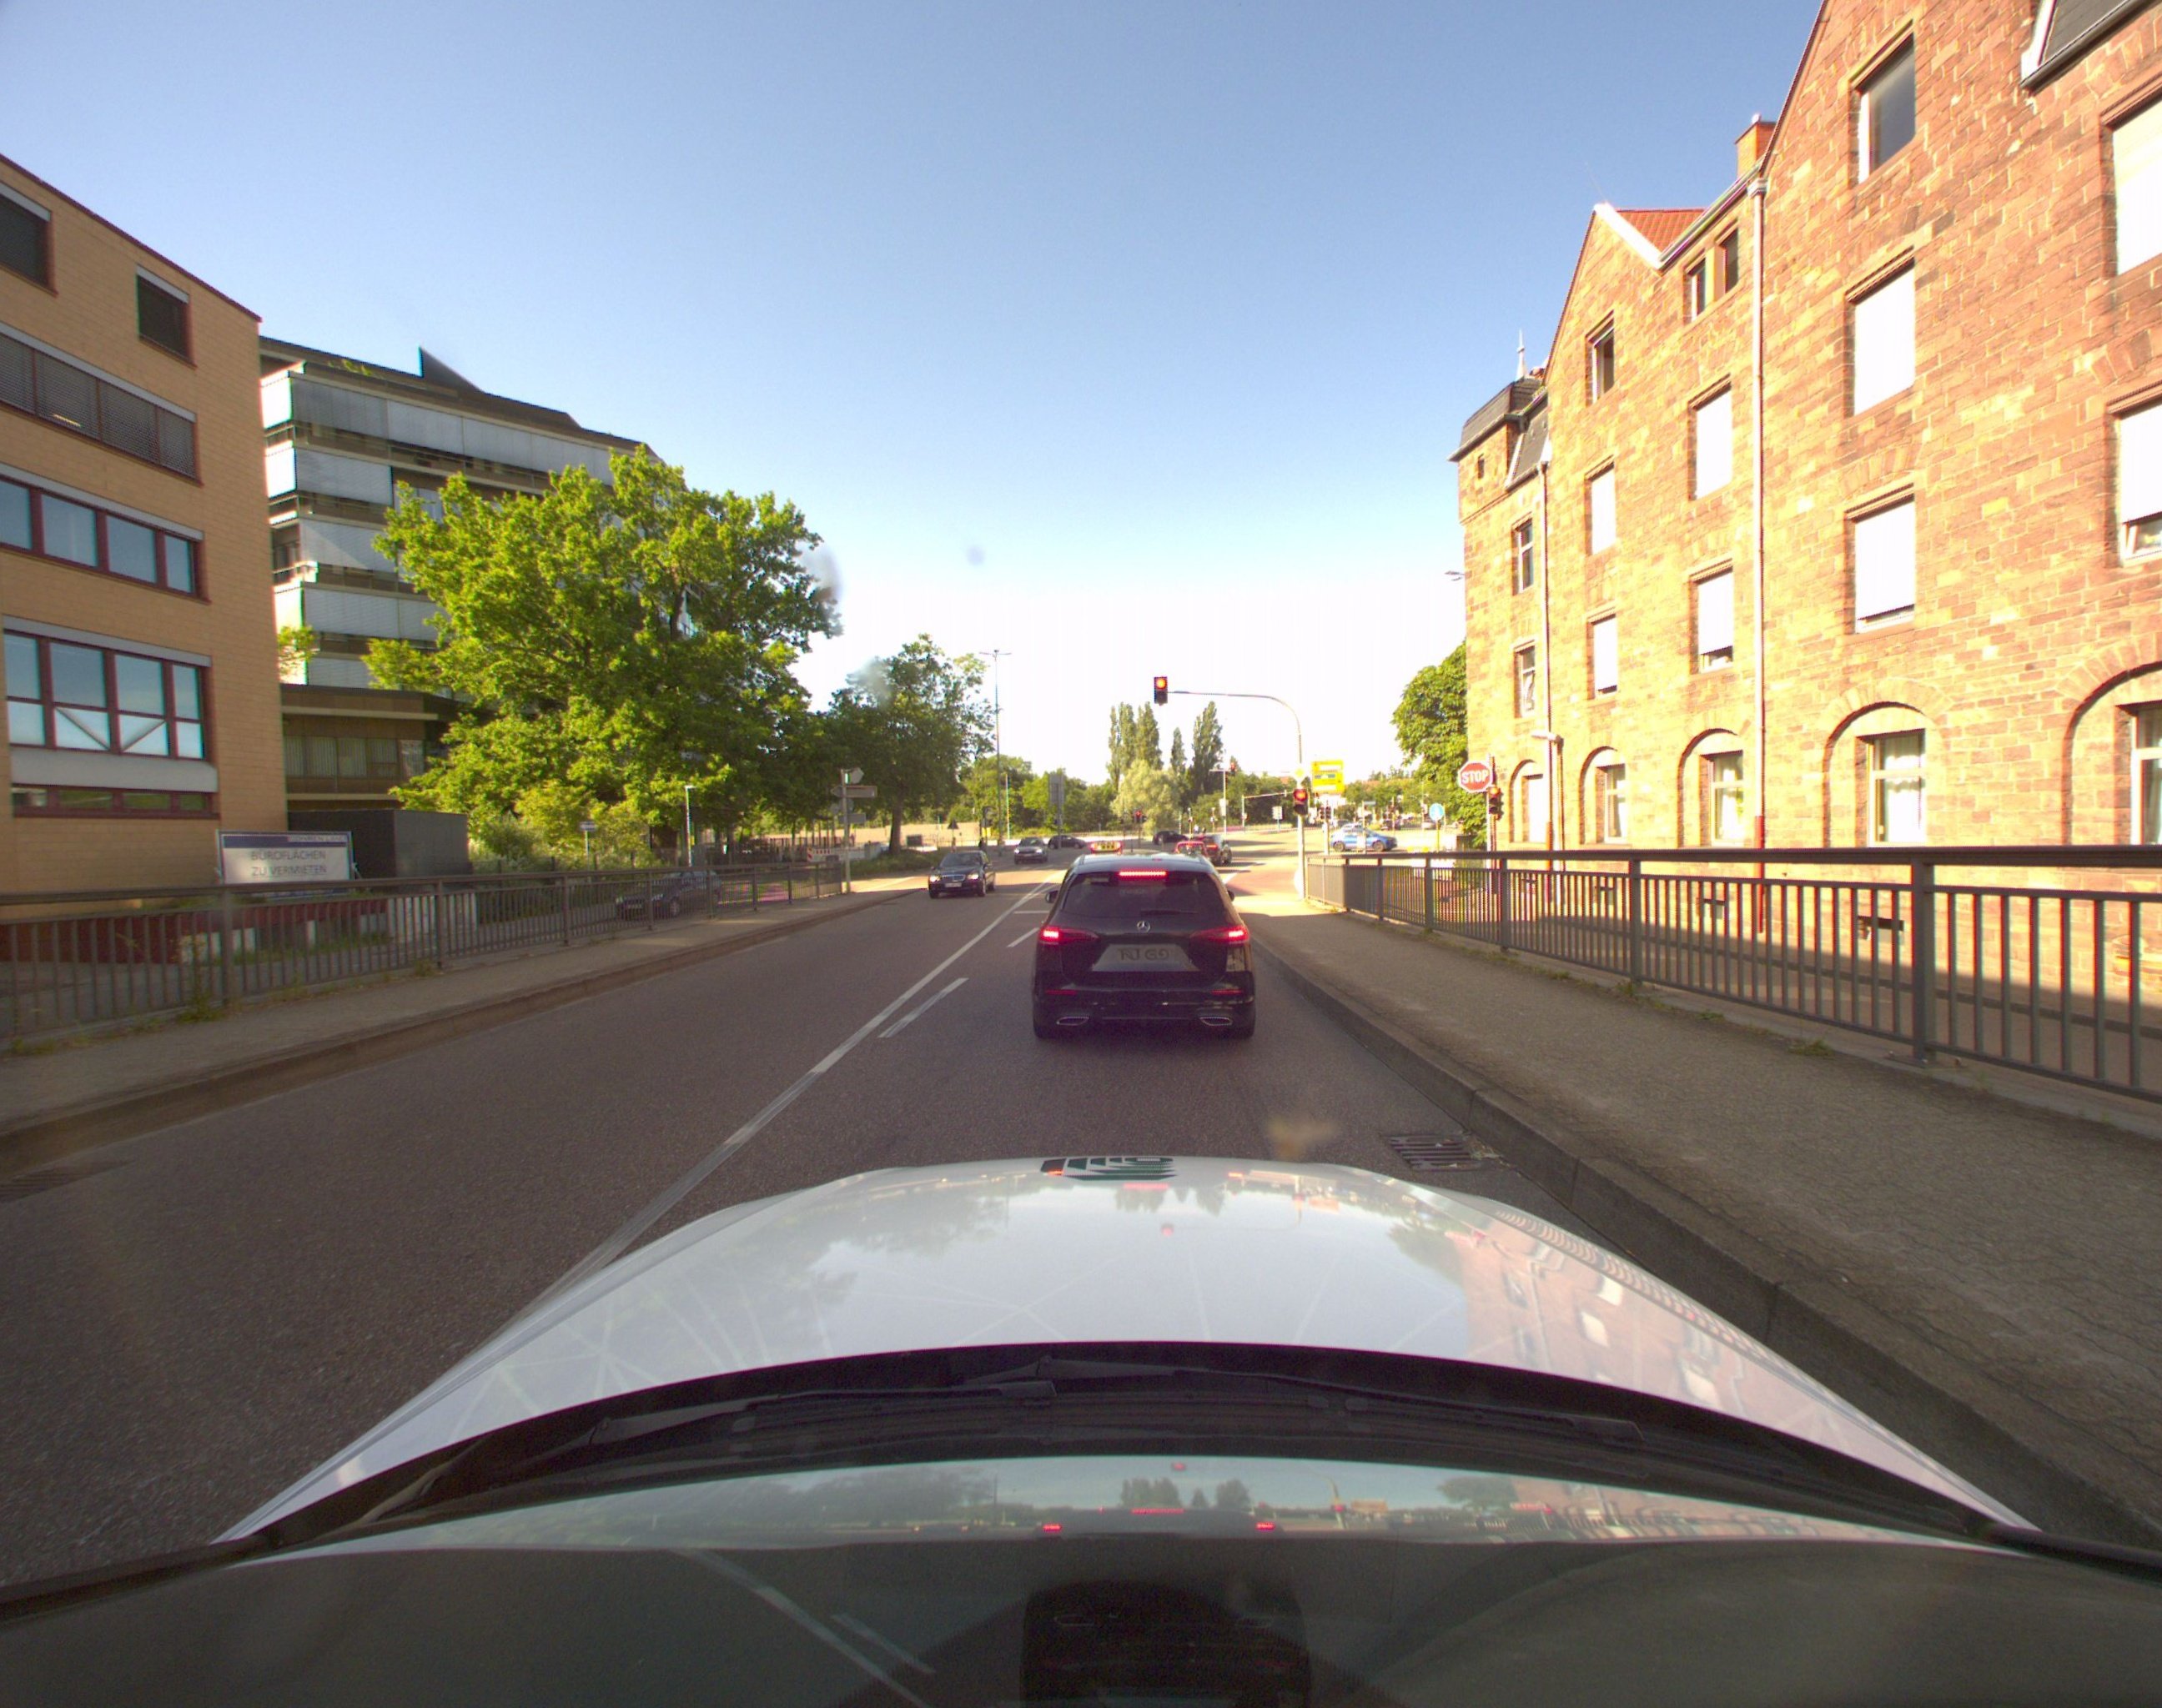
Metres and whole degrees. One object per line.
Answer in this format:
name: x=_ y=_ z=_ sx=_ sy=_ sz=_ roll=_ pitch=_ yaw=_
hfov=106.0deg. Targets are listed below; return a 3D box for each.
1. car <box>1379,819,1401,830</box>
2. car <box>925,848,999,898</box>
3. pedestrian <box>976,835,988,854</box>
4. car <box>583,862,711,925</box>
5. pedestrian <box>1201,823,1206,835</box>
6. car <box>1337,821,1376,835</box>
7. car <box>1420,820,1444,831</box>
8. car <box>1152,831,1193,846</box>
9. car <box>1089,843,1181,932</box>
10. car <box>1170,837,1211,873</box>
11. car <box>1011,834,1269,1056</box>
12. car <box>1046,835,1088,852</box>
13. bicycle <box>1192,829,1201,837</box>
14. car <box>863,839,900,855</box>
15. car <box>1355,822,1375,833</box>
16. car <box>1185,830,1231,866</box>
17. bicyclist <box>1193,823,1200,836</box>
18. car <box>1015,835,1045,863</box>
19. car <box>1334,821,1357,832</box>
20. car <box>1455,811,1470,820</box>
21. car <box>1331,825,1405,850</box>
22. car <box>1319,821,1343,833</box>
car: x=41.829 y=-4.022 z=110.238 sx=1.862 sy=1.294 sz=4.625 roll=-1 pitch=3 yaw=32
car: x=-3.859 y=0.567 z=27.032 sx=1.736 sy=1.407 sz=4.201 roll=-2 pitch=1 yaw=1
pedestrian: x=-8.315 y=-0.789 z=68.386 sx=0.700 sy=1.525 sz=0.746 roll=-1 pitch=1 yaw=12
car: x=-13.963 y=1.204 z=26.496 sx=1.844 sy=1.692 sz=4.002 roll=-2 pitch=2 yaw=2
pedestrian: x=16.557 y=-3.329 z=110.228 sx=0.446 sy=1.585 sz=0.504 roll=-2 pitch=1 yaw=42
car: x=30.647 y=-2.911 z=90.566 sx=4.335 sy=1.365 sz=1.978 roll=-4 pitch=3 yaw=-37
car: x=47.721 y=-3.878 z=110.609 sx=1.974 sy=1.294 sz=4.625 roll=-1 pitch=3 yaw=36
car: x=9.604 y=-1.633 z=85.707 sx=3.979 sy=1.547 sz=1.888 roll=0 pitch=-1 yaw=-4
car: x=1.126 y=0.604 z=16.824 sx=1.632 sy=1.529 sz=3.478 roll=-3 pitch=1 yaw=4
car: x=5.275 y=0.007 z=38.961 sx=1.711 sy=1.521 sz=3.497 roll=-1 pitch=3 yaw=10
car: x=0.492 y=0.646 z=7.946 sx=1.871 sy=1.613 sz=4.002 roll=0 pitch=0 yaw=2
car: x=-1.390 y=-1.054 z=81.755 sx=3.962 sy=1.498 sz=1.749 roll=-2 pitch=0 yaw=10
bicycle: x=14.691 y=-2.661 z=103.342 sx=0.521 sy=1.050 sz=2.002 roll=-2 pitch=1 yaw=26
car: x=-22.697 y=-0.793 z=92.606 sx=3.948 sy=1.629 sz=1.903 roll=-1 pitch=1 yaw=35
car: x=46.855 y=-4.382 z=134.440 sx=1.860 sy=1.578 sz=4.026 roll=-1 pitch=2 yaw=38
car: x=7.063 y=-0.368 z=44.992 sx=1.707 sy=1.812 sz=4.319 roll=-2 pitch=2 yaw=20
bicyclist: x=14.680 y=-3.096 z=103.323 sx=0.521 sy=1.551 sz=0.812 roll=-2 pitch=1 yaw=26
car: x=-3.215 y=-0.365 z=52.071 sx=1.799 sy=1.623 sz=3.998 roll=-1 pitch=2 yaw=-2
car: x=38.751 y=-4.019 z=119.178 sx=1.860 sy=1.578 sz=4.026 roll=-1 pitch=2 yaw=38
car: x=67.481 y=-6.810 z=143.988 sx=1.764 sy=1.357 sz=4.105 roll=-1 pitch=3 yaw=36
car: x=19.605 y=-1.107 z=55.791 sx=4.347 sy=1.592 sz=1.935 roll=0 pitch=3 yaw=40
car: x=35.054 y=-3.769 z=114.105 sx=1.860 sy=1.578 sz=4.026 roll=-1 pitch=2 yaw=38
